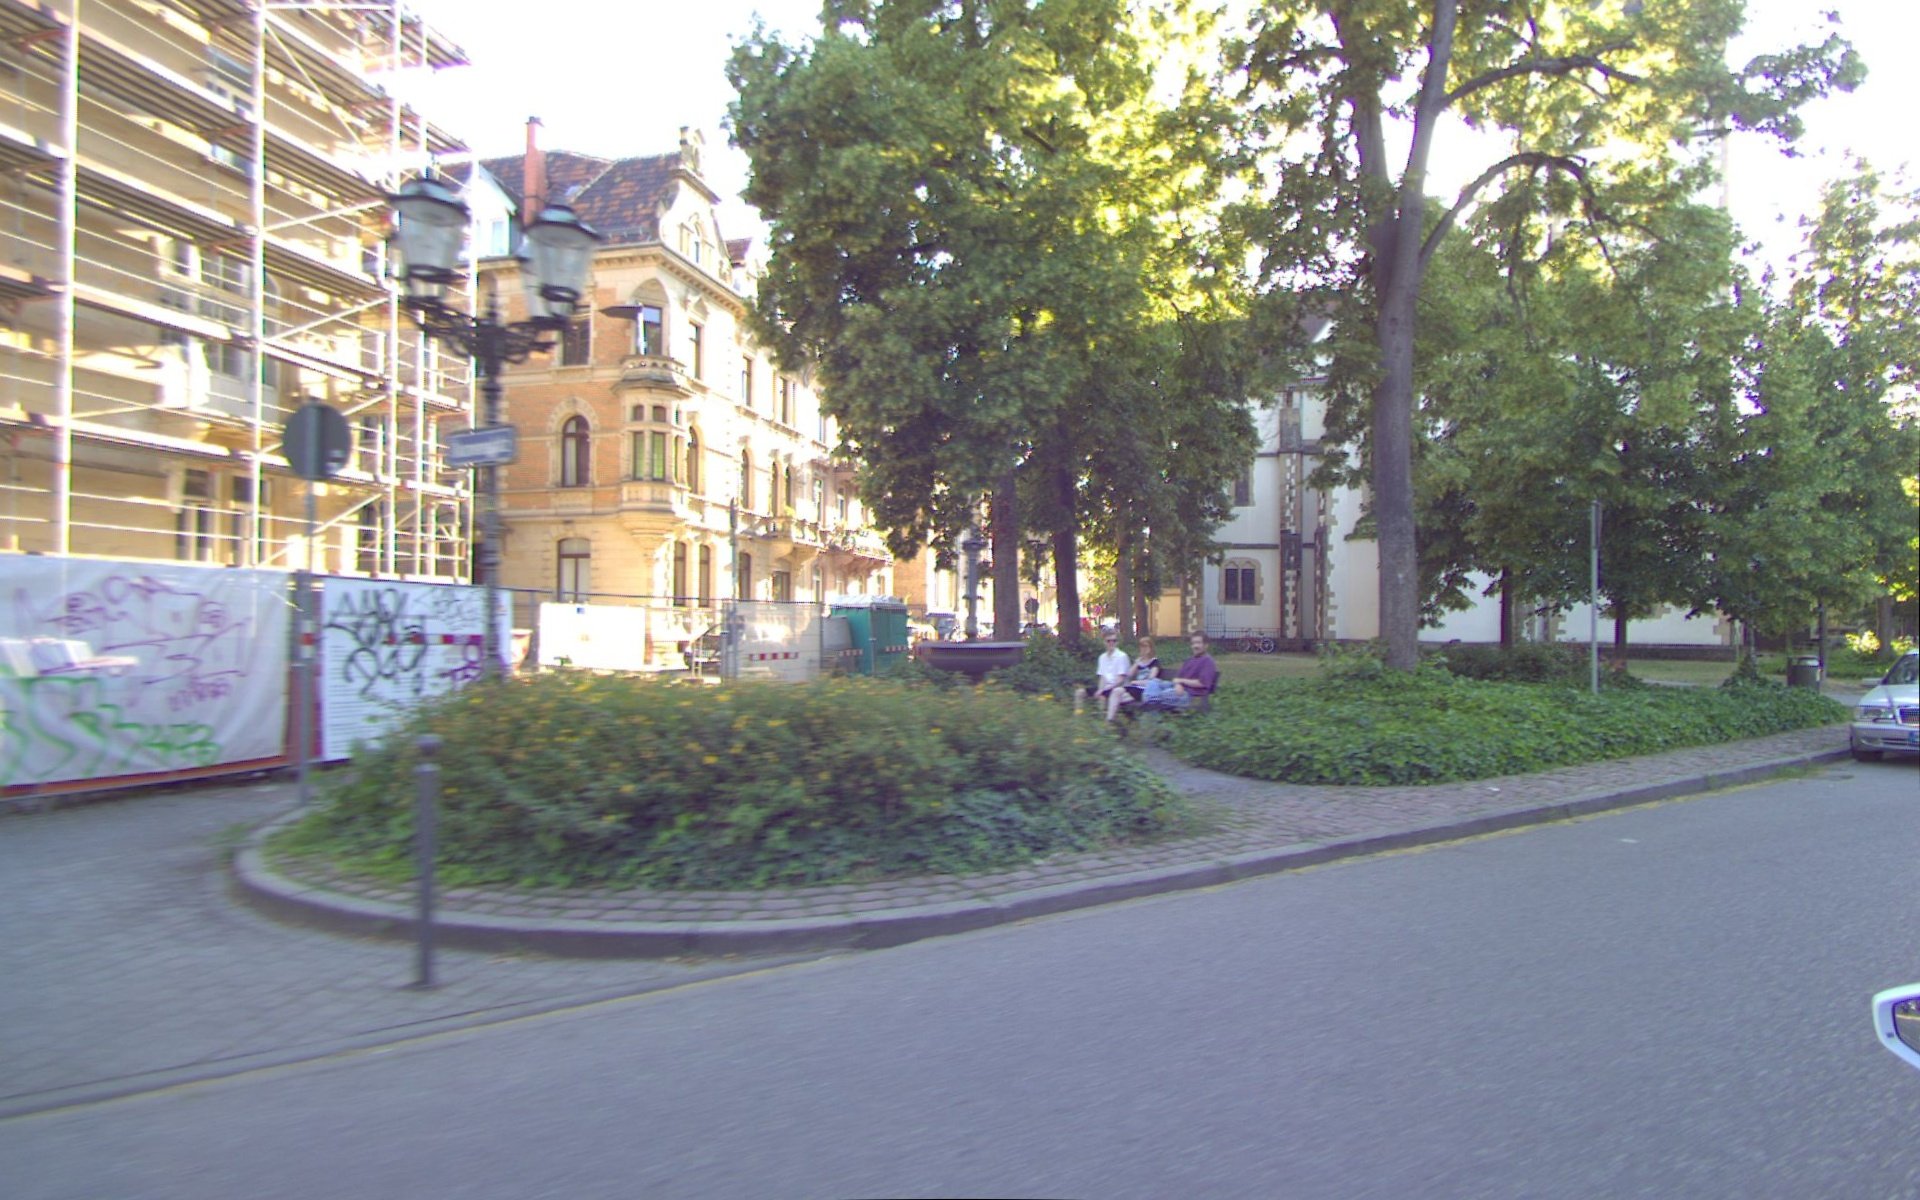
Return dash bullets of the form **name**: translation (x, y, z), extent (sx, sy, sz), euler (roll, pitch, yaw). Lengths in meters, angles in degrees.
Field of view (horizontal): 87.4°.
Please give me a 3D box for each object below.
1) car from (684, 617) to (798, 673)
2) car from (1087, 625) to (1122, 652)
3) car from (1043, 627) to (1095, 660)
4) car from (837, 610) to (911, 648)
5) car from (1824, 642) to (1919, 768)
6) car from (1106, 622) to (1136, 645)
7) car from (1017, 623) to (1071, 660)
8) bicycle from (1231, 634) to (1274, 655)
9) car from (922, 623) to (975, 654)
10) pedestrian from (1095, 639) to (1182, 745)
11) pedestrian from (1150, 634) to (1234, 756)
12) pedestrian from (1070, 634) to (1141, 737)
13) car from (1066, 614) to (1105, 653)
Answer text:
- **car**: translation (-7.003, 1.419, 32.615), extent (1.874, 1.677, 4.223), euler (0, -1, 15)
- **car**: translation (9.674, 2.554, 67.077), extent (1.853, 1.677, 4.223), euler (0, -2, 14)
- **car**: translation (6.051, 2.364, 55.177), extent (1.855, 1.677, 4.220), euler (0, -2, 21)
- **car**: translation (-5.298, 1.763, 62.216), extent (4.135, 2.291, 1.893), euler (0, -1, 14)
- **car**: translation (12.928, 1.263, 12.896), extent (4.454, 1.434, 1.768), euler (1, -3, -36)
- **car**: translation (12.313, 2.529, 76.600), extent (1.853, 1.677, 4.223), euler (0, -2, 14)
- **car**: translation (4.014, 1.945, 47.495), extent (1.853, 1.677, 4.223), euler (0, -2, 14)
- **bicycle**: translation (13.299, 2.006, 45.624), extent (1.846, 0.930, 0.423), euler (0, -1, 18)
- **car**: translation (-0.614, 2.165, 56.852), extent (1.960, 1.677, 4.223), euler (0, -1, 15)
- **pedestrian**: translation (2.139, 1.082, 12.058), extent (0.871, 1.211, 0.550), euler (1, -1, -22)
- **pedestrian**: translation (2.600, 1.039, 11.276), extent (0.754, 1.315, 0.550), euler (1, -1, -22)
- **pedestrian**: translation (1.815, 1.047, 12.552), extent (0.714, 1.249, 0.550), euler (1, -1, -22)
- **car**: translation (7.695, 2.024, 61.079), extent (1.853, 2.291, 4.223), euler (0, -2, 14)
